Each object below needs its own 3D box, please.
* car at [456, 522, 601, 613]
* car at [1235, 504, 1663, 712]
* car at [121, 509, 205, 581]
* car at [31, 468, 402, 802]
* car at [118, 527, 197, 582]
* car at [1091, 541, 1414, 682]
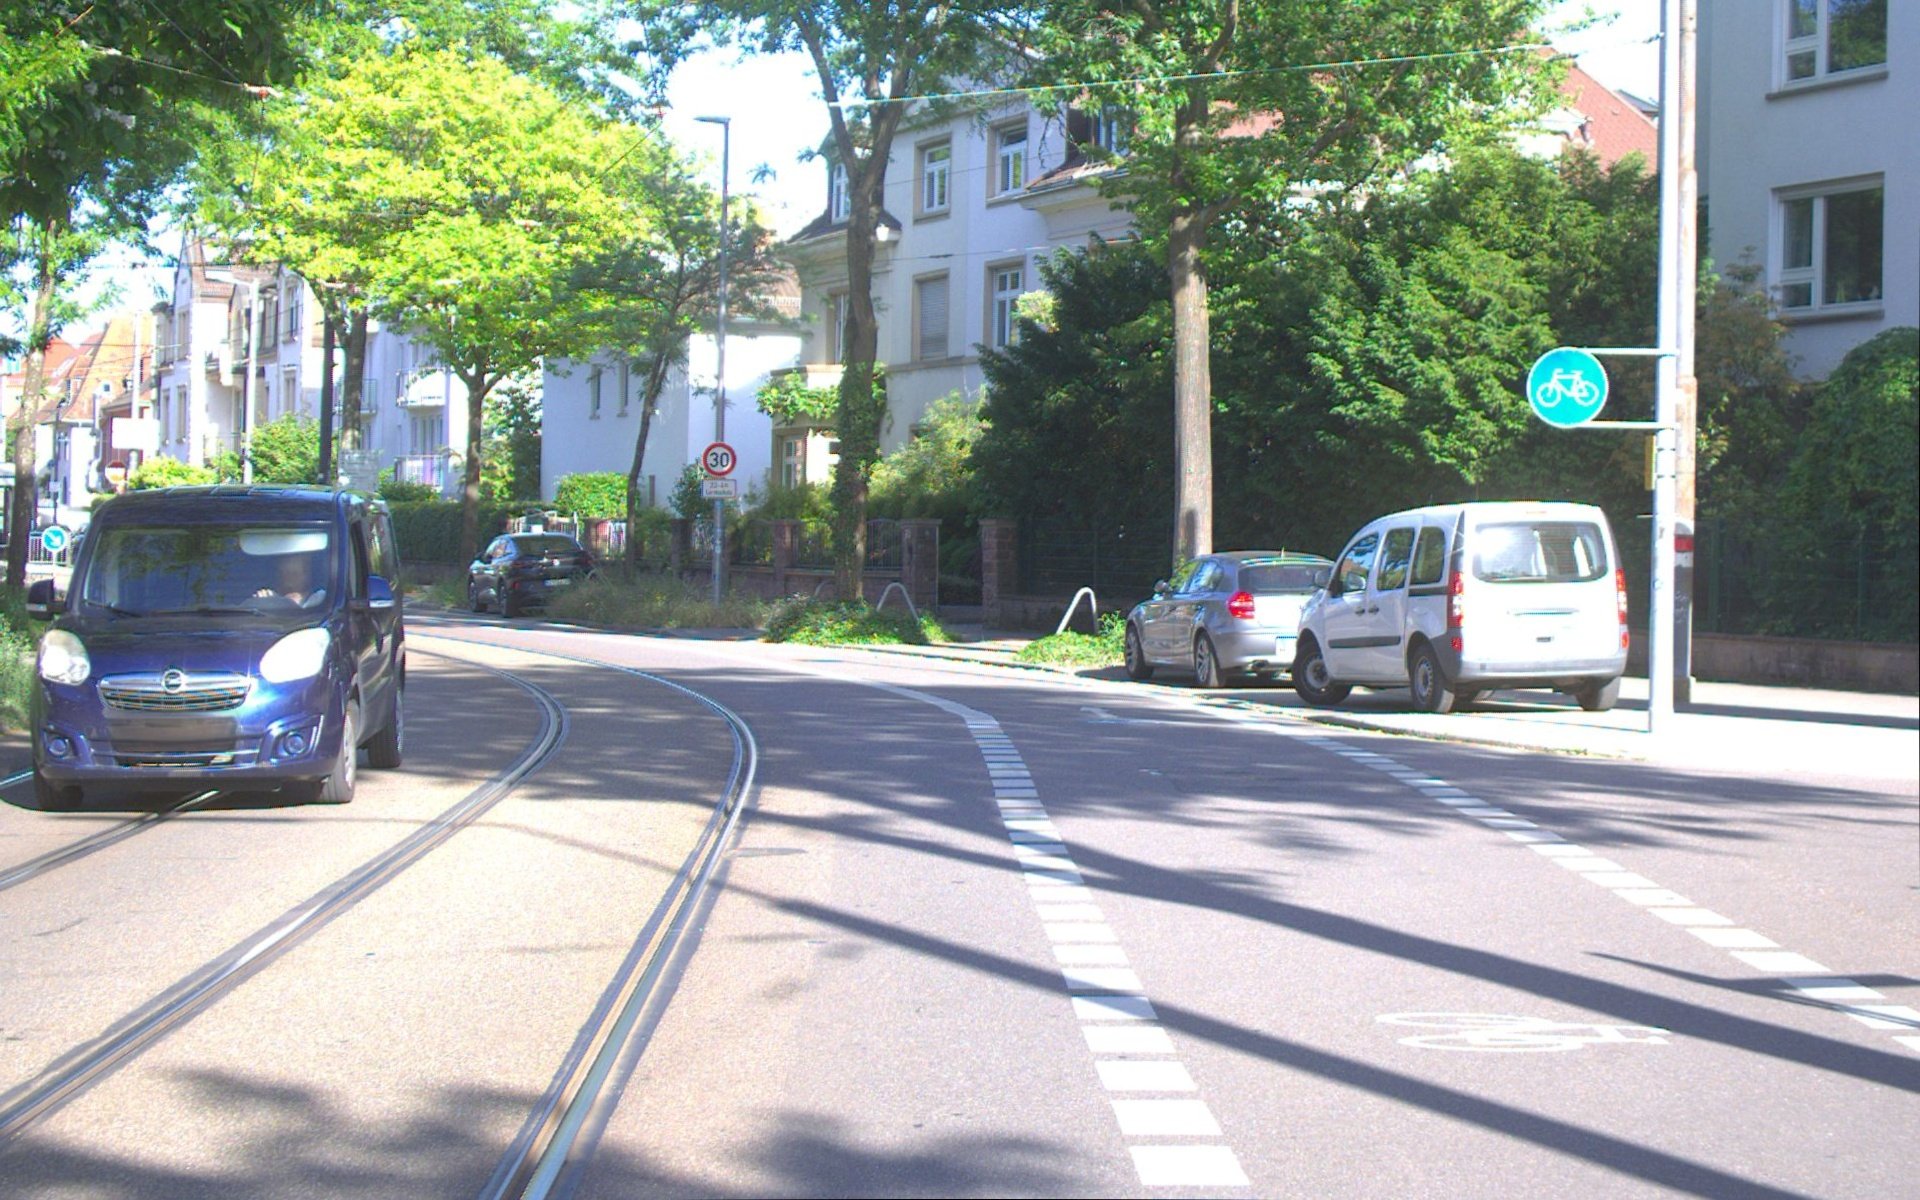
[{"bbox_3d":[-8.693,-0.677,68.939,1.804,1.688,4.730,-3,2,-20],"label":"car"},{"bbox_3d":[4.314,0.014,31.205,2.022,1.741,4.753,0,1,-16],"label":"car"},{"bbox_3d":[-19.298,-1.304,83.173,1.892,1.605,4.230,1,-1,-13],"label":"car"},{"bbox_3d":[-4.373,0.145,20.769,1.632,1.786,4.339,1,1,-5],"label":"car"},{"bbox_3d":[-21.909,-1.266,93.954,1.993,1.437,4.001,1,1,-12],"label":"car"},{"bbox_3d":[3.070,0.096,37.086,1.993,1.418,4.334,0,1,-17],"label":"car"}]
